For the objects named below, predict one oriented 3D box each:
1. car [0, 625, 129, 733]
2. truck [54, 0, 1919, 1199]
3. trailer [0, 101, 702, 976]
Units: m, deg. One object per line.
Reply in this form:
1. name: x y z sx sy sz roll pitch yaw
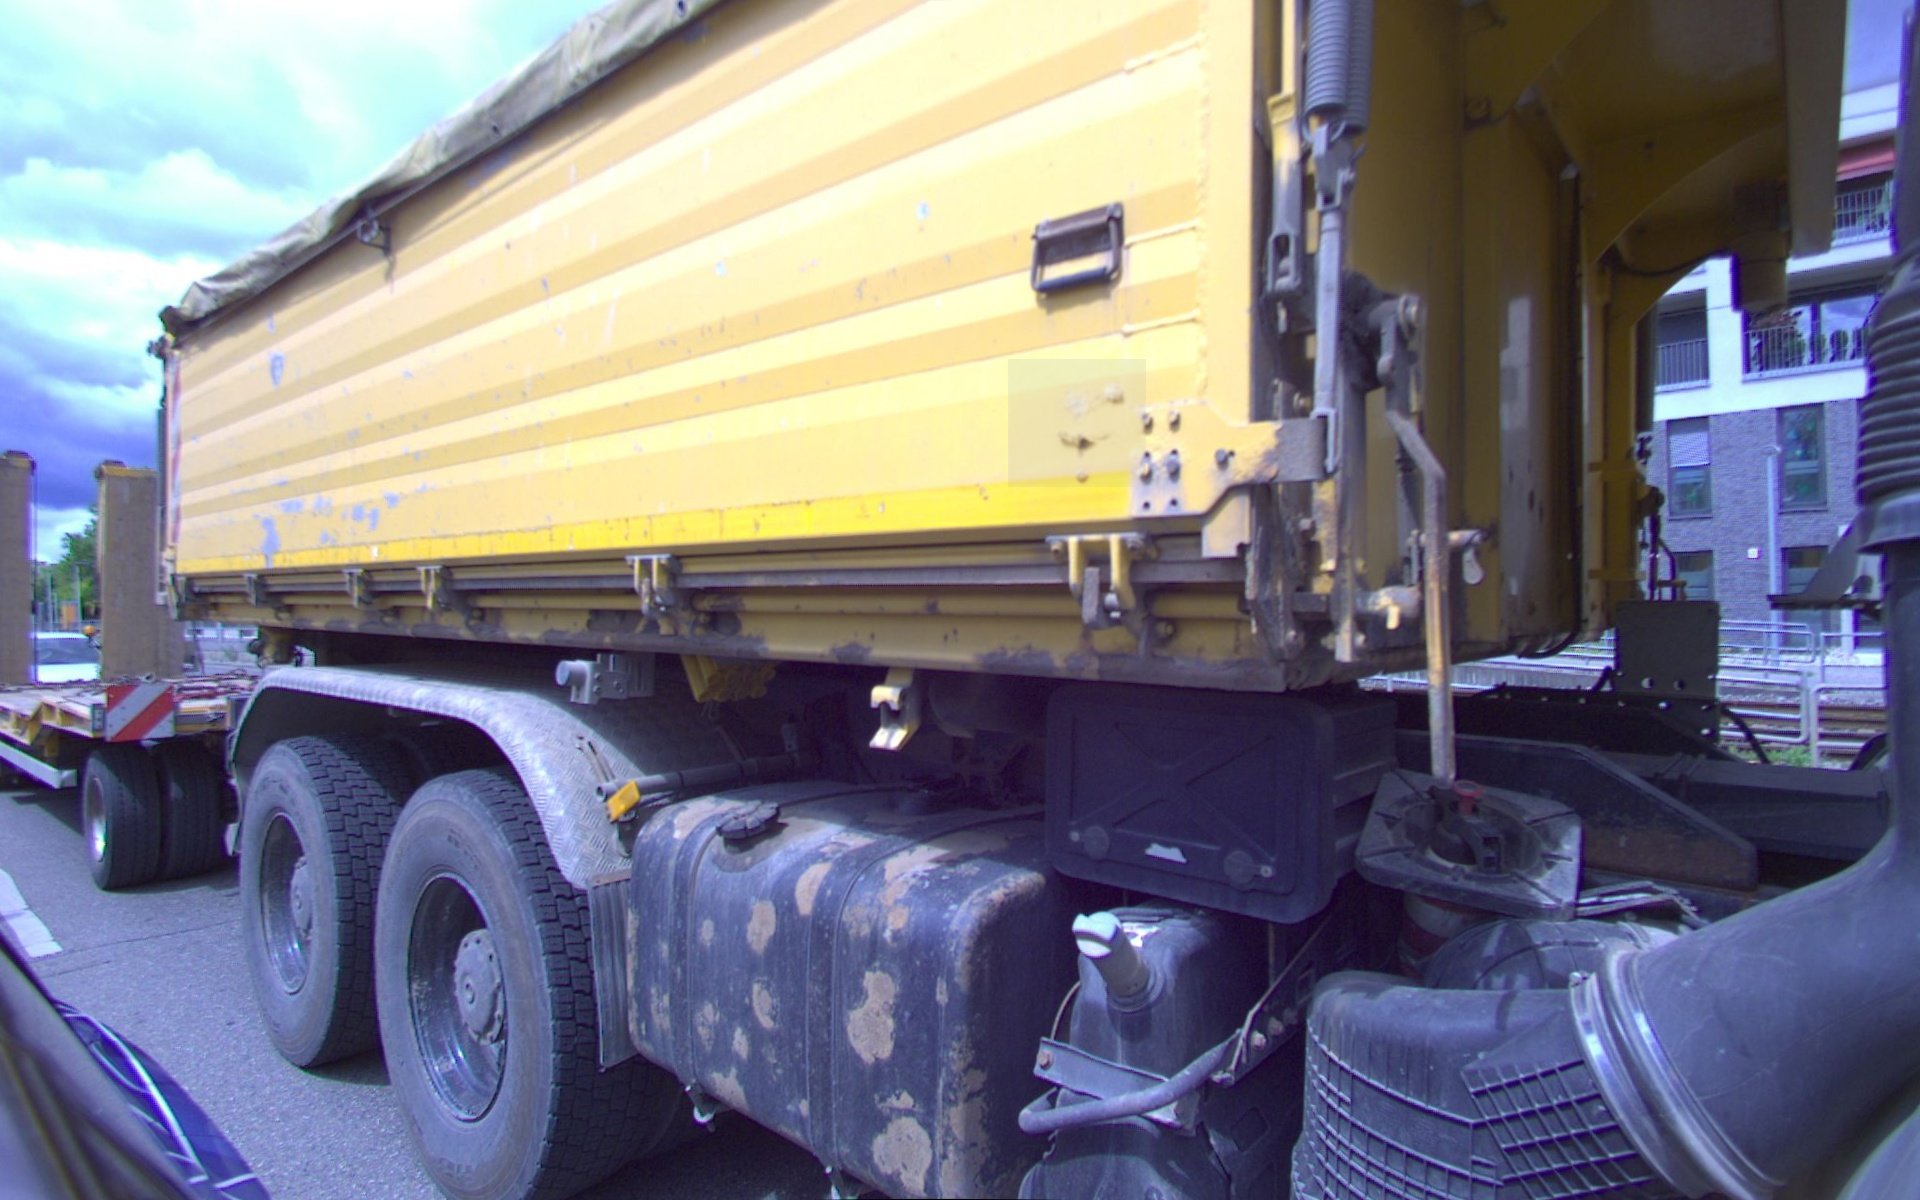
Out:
1. car: -14.064 1.128 15.288 3.784 1.427 1.761 -2 -1 41
2. truck: 0.156 -0.227 2.909 7.999 3.420 3.019 -2 -1 40
3. trailer: -6.854 -0.143 9.017 10.957 3.726 3.018 -2 -1 40
